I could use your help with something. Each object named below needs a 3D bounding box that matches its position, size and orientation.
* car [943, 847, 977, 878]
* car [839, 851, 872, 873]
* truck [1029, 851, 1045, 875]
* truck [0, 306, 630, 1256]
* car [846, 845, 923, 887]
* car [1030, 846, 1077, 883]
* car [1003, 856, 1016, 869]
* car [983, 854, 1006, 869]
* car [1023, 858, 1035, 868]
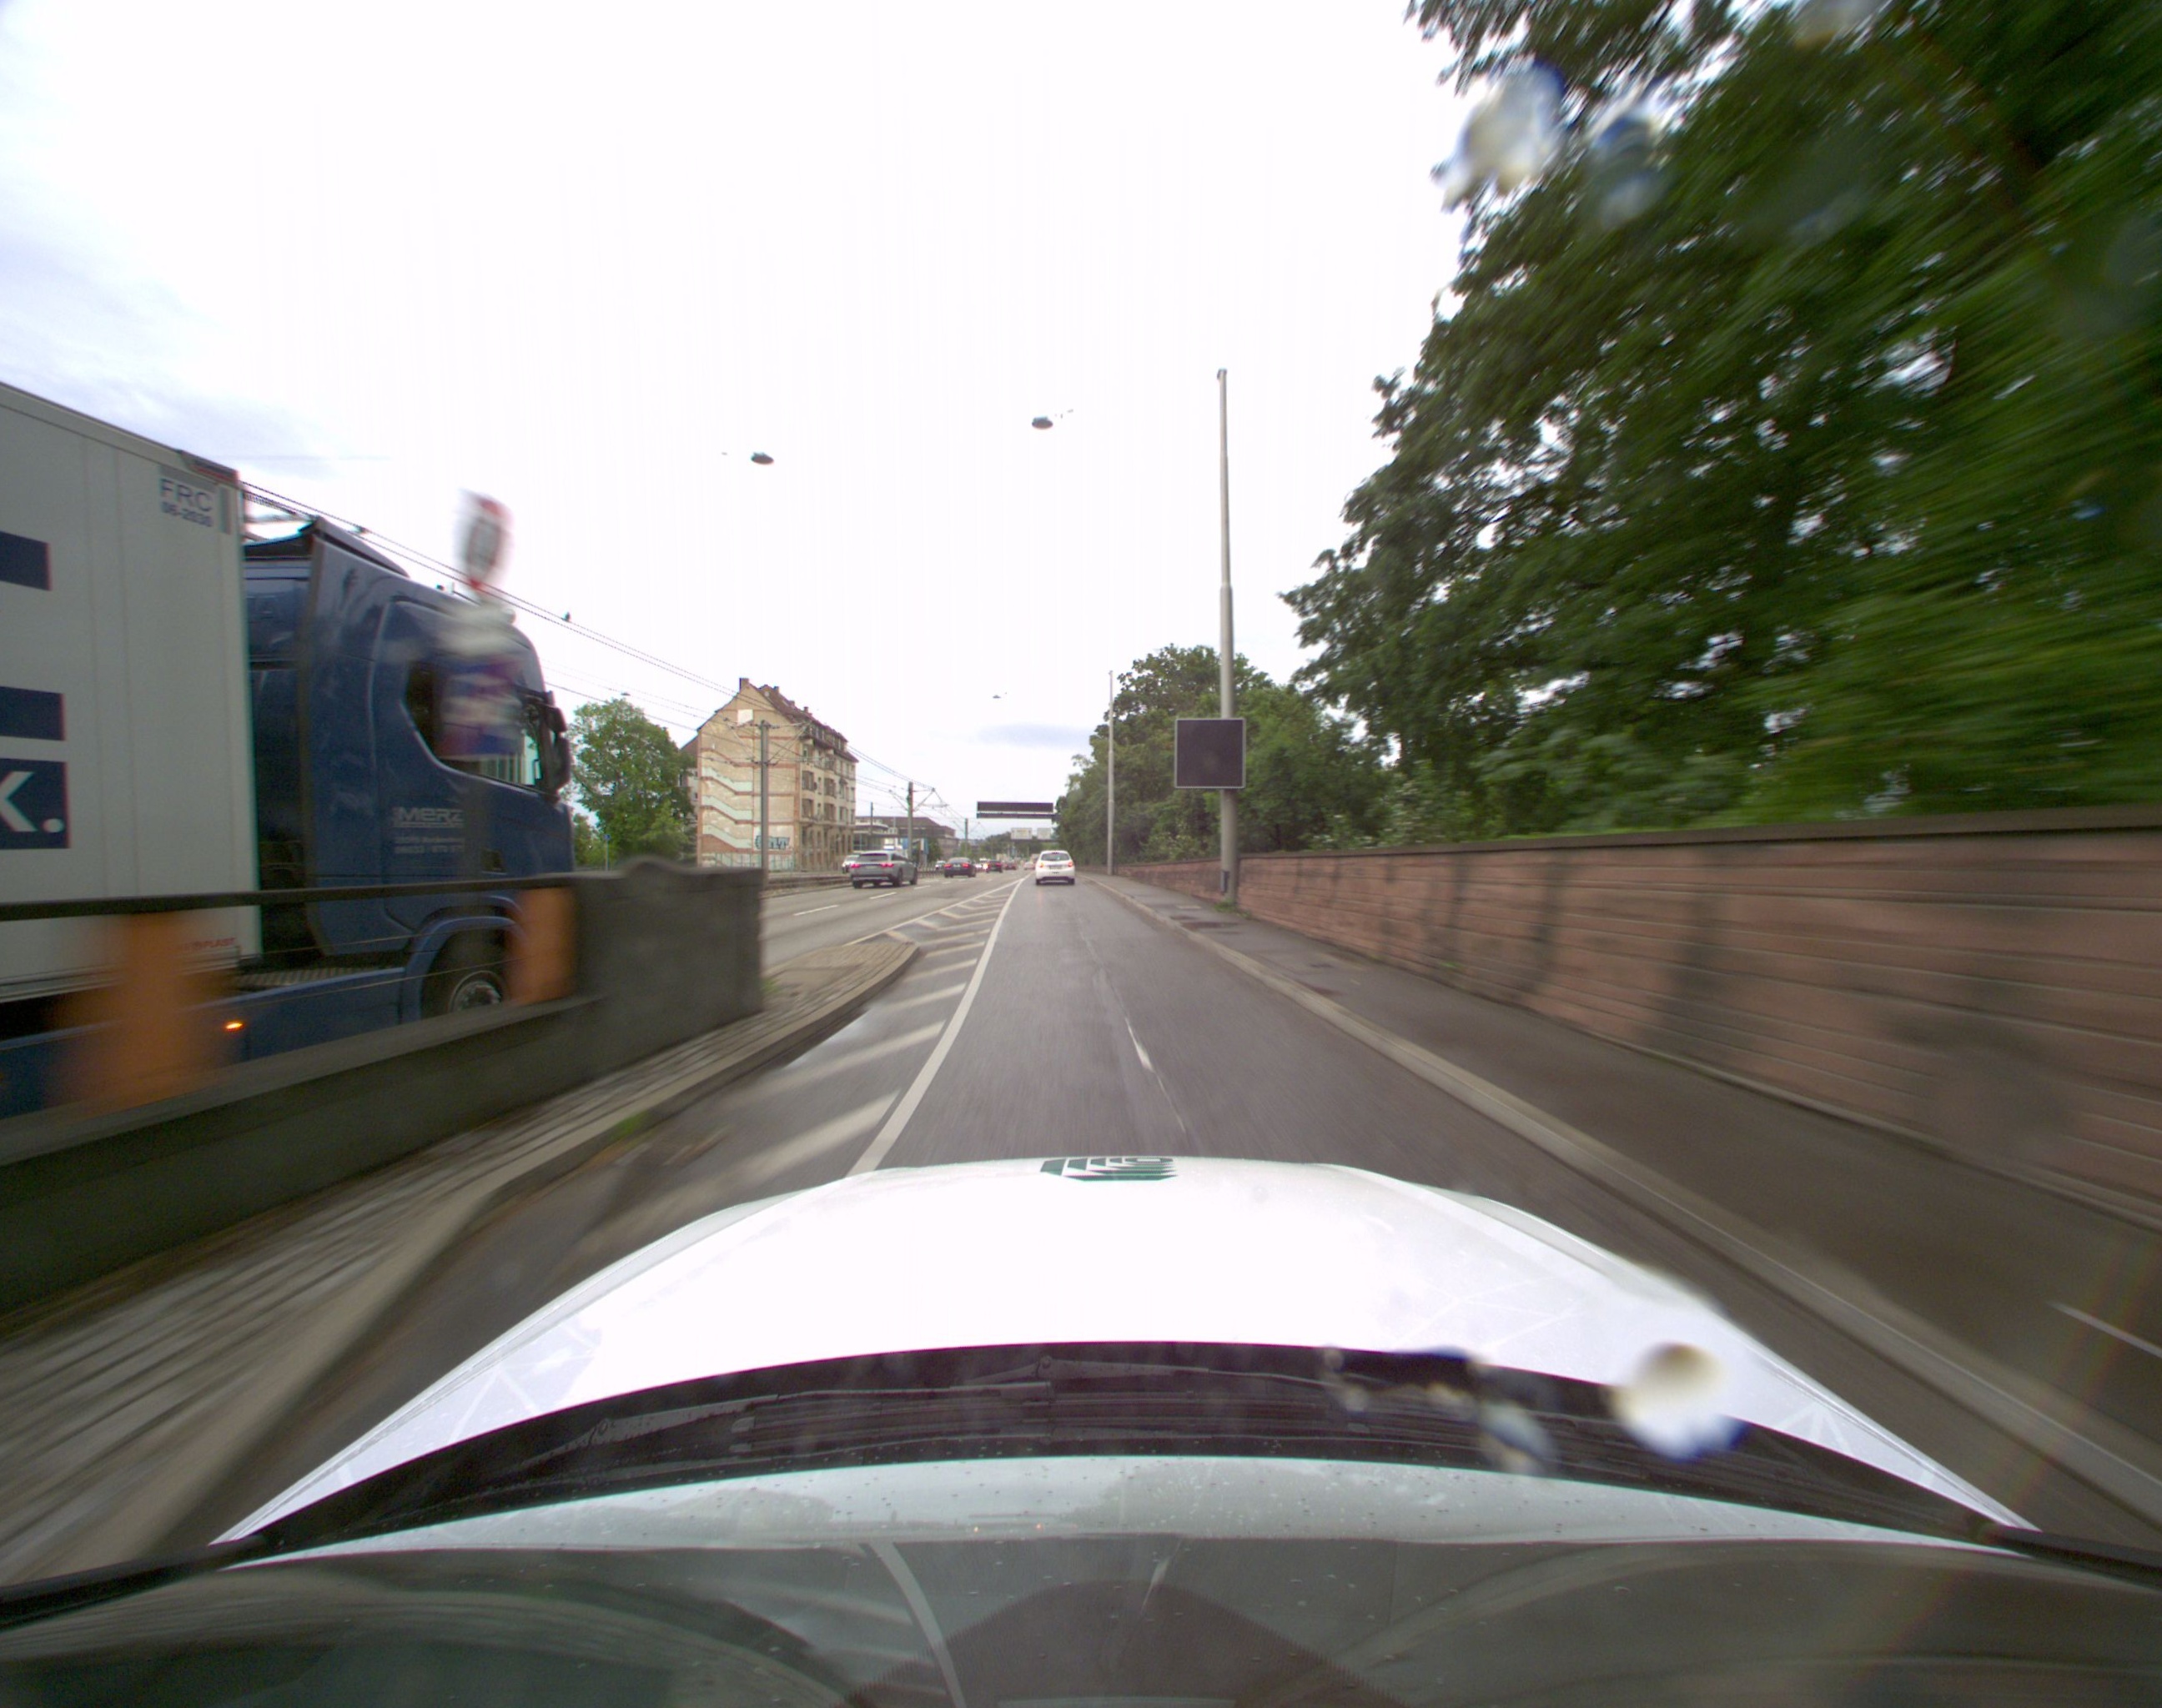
[{"bbox_3d":[-8.174,0.552,55.192,1.716,1.891,3.536,0,3,0],"label":"car"},{"bbox_3d":[-22.966,0.814,83.102,1.988,2.118,5.106,1,-2,-2],"label":"car"},{"bbox_3d":[-11.163,2.374,208.995,3.454,5.402,12.042,1,-4,-1],"label":"truck"},{"bbox_3d":[-6.073,-0.307,4.733,2.750,4.197,6.791,-1,0,4],"label":"truck"},{"bbox_3d":[-7.993,0.508,33.551,1.812,1.566,4.097,-2,-1,5],"label":"car"},{"bbox_3d":[-1.232,0.435,36.233,1.950,1.488,3.997,1,1,-2],"label":"car"},{"bbox_3d":[-12.507,1.460,143.003,1.989,2.014,3.994,1,-4,-3],"label":"car"},{"bbox_3d":[-9.776,0.869,92.273,1.985,1.576,4.003,0,-2,3],"label":"car"},{"bbox_3d":[-9.502,1.667,149.770,2.077,1.873,4.091,-1,-2,-3],"label":"car"}]
